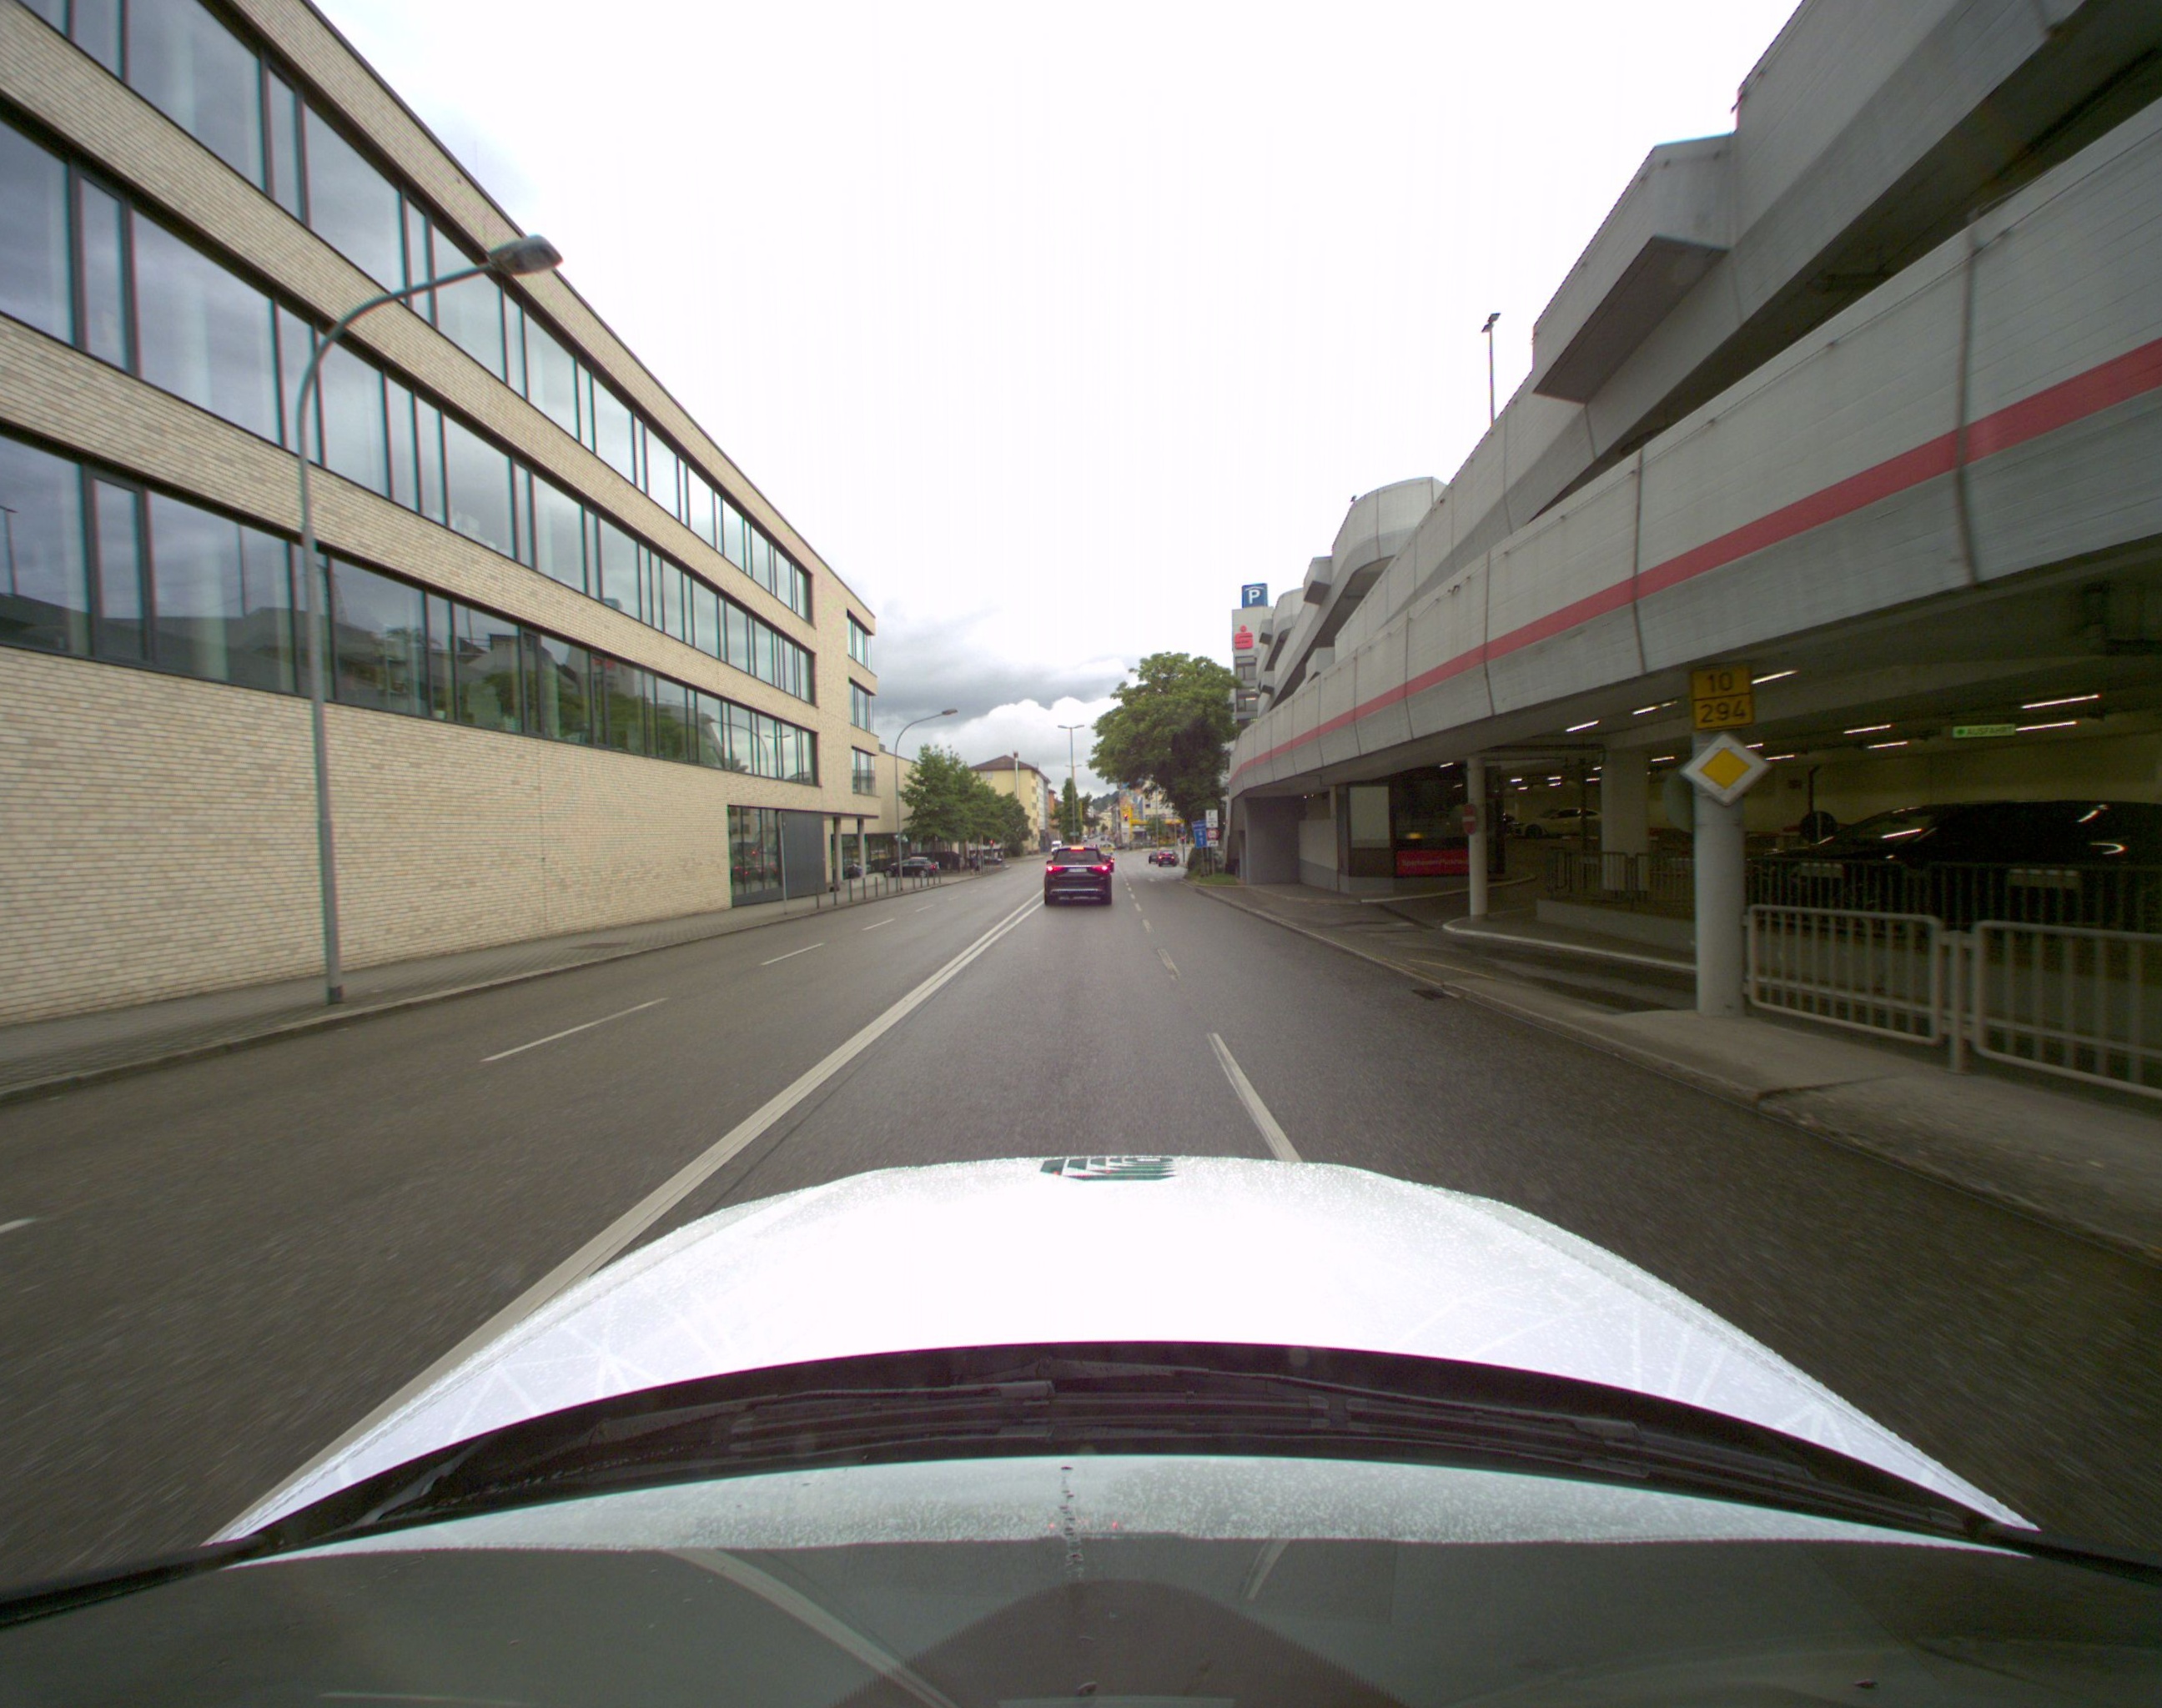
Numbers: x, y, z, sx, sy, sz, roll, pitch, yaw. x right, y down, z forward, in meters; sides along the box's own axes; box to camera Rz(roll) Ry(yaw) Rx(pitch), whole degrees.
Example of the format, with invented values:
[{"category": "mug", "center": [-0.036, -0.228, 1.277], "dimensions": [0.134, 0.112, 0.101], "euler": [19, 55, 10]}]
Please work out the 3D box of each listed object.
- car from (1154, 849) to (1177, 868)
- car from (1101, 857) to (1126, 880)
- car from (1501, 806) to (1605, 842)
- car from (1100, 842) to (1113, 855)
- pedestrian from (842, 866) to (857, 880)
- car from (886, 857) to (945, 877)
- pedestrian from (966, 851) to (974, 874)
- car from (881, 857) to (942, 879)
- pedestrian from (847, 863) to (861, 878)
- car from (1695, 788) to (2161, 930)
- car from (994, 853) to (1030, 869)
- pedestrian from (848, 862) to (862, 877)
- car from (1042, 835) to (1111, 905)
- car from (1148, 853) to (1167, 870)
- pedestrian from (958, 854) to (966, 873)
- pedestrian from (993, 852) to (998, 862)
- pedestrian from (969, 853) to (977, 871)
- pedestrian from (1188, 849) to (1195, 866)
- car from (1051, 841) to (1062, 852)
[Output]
[{"category": "car", "center": [8.841, 0.454, 85.780], "dimensions": [1.987, 2.013, 3.999], "euler": [-1, 0, 0]}, {"category": "car", "center": [2.531, 1.119, 64.088], "dimensions": [1.698, 1.716, 3.441], "euler": [0, -1, -1]}, {"category": "car", "center": [22.978, -1.435, 39.776], "dimensions": [3.962, 1.640, 2.006], "euler": [0, -1, 10]}, {"category": "car", "center": [4.181, -0.908, 133.049], "dimensions": [1.987, 2.013, 4.000], "euler": [0, 1, 0]}, {"category": "pedestrian", "center": [-12.843, 1.062, 45.270], "dimensions": [0.595, 0.786, 0.760], "euler": [0, -1, 2]}, {"category": "car", "center": [-13.501, 1.035, 66.643], "dimensions": [4.407, 1.573, 1.998], "euler": [0, 1, -4]}, {"category": "pedestrian", "center": [-9.765, 0.721, 71.866], "dimensions": [0.586, 2.014, 0.749], "euler": [0, -1, 0]}, {"category": "car", "center": [-13.362, 1.074, 64.527], "dimensions": [4.461, 1.587, 1.997], "euler": [-2, 0, -5]}, {"category": "pedestrian", "center": [-12.887, 0.927, 46.248], "dimensions": [0.678, 0.886, 0.524], "euler": [0, -1, 1]}, {"category": "car", "center": [11.134, 0.068, 10.703], "dimensions": [4.544, 1.640, 1.828], "euler": [0, -1, 13]}, {"category": "car", "center": [-9.342, 0.919, 110.929], "dimensions": [4.799, 2.013, 1.996], "euler": [-1, 0, -6]}, {"category": "pedestrian", "center": [-12.839, 0.879, 46.270], "dimensions": [0.584, 0.845, 0.727], "euler": [-1, -1, 1]}, {"category": "car", "center": [-0.115, 0.473, 25.557], "dimensions": [1.987, 2.014, 4.000], "euler": [0, -1, 0]}, {"category": "car", "center": [9.163, 0.953, 97.937], "dimensions": [1.987, 2.014, 3.999], "euler": [0, -1, 0]}, {"category": "pedestrian", "center": [-11.027, 0.858, 75.498], "dimensions": [0.673, 1.698, 0.479], "euler": [1, -4, 0]}, {"category": "pedestrian", "center": [-12.267, 0.454, 117.149], "dimensions": [0.709, 1.462, 0.598], "euler": [0, -1, 0]}, {"category": "pedestrian", "center": [-10.809, 0.799, 81.324], "dimensions": [0.686, 1.726, 0.754], "euler": [0, -3, 1]}, {"category": "pedestrian", "center": [12.605, 0.369, 92.966], "dimensions": [0.657, 1.917, 0.731], "euler": [0, -1, 15]}, {"category": "car", "center": [-4.618, -1.441, 152.794], "dimensions": [1.987, 1.875, 5.141], "euler": [0, -1, 0]}]
